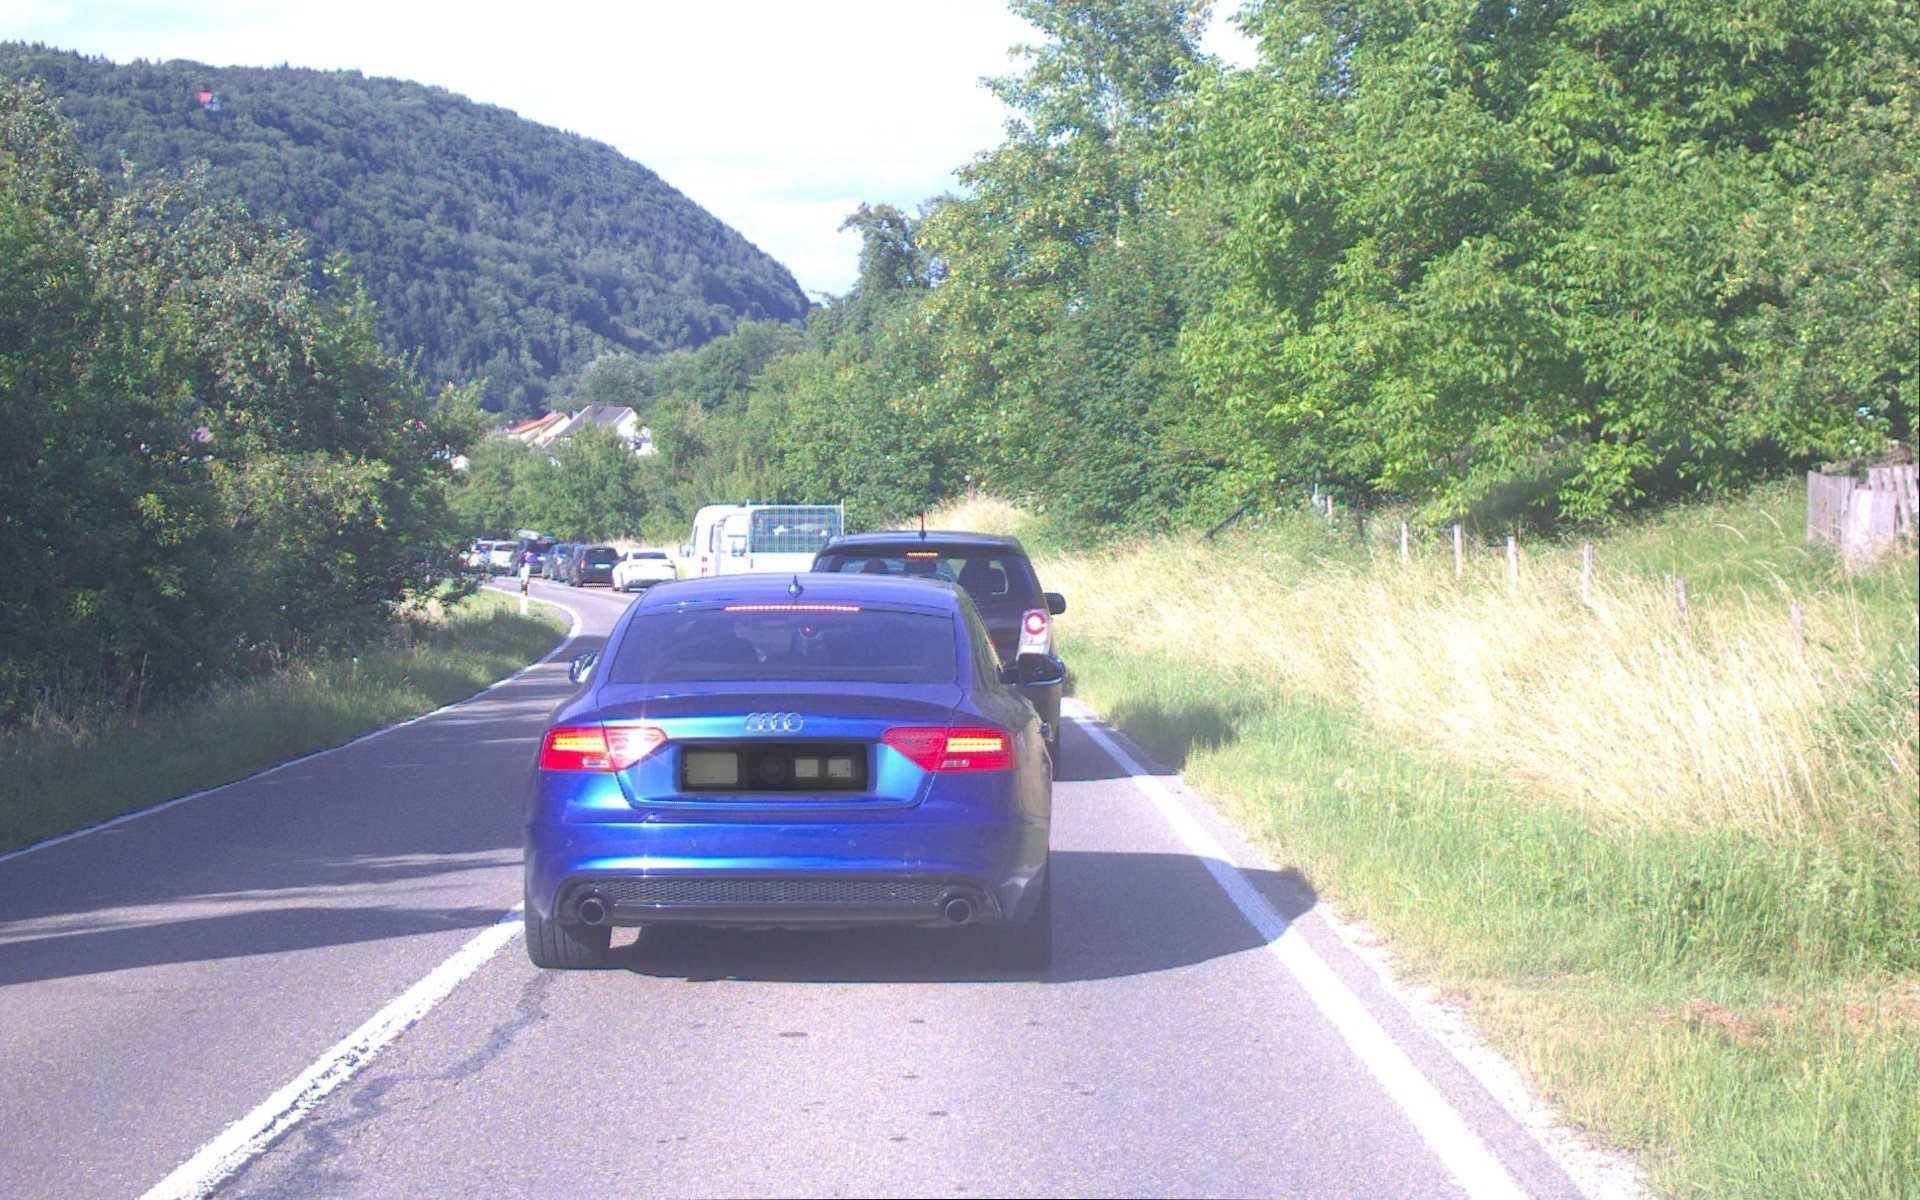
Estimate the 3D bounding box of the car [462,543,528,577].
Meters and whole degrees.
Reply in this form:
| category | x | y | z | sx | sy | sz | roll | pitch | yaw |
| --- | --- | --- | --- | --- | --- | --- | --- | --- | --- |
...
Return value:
| category | x | y | z | sx | sy | sz | roll | pitch | yaw |
| --- | --- | --- | --- | --- | --- | --- | --- | --- | --- |
| car | -20.789 | -1.796 | 153.608 | 1.993 | 1.477 | 4.001 | 0 | 0 | -22 |

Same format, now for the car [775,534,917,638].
| category | x | y | z | sx | sy | sz | roll | pitch | yaw |
| --- | --- | --- | --- | --- | --- | --- | --- | --- | --- |
| car | -1.660 | -0.222 | 51.426 | 1.993 | 1.477 | 4.000 | 1 | 0 | 0 |

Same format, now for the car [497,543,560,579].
| category | x | y | z | sx | sy | sz | roll | pitch | yaw |
| --- | --- | --- | --- | --- | --- | --- | --- | --- | --- |
| car | -18.200 | -1.622 | 144.776 | 1.993 | 1.477 | 4.001 | 0 | 0 | -16 |

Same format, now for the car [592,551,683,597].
| category | x | y | z | sx | sy | sz | roll | pitch | yaw |
| --- | --- | --- | --- | --- | --- | --- | --- | --- | --- |
| car | -10.635 | -0.873 | 113.209 | 1.993 | 1.477 | 4.001 | 0 | 0 | -20 |

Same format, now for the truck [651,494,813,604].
| category | x | y | z | sx | sy | sz | roll | pitch | yaw |
| --- | --- | --- | --- | --- | --- | --- | --- | --- | --- |
| truck | -6.015 | -1.316 | 88.893 | 2.863 | 2.656 | 10.648 | 0 | 1 | -11 |

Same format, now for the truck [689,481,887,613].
| category | x | y | z | sx | sy | sz | roll | pitch | yaw |
| --- | --- | --- | --- | --- | --- | --- | --- | --- | --- |
| truck | -3.890 | -1.152 | 74.880 | 2.863 | 2.656 | 10.396 | 0 | 1 | -11 |

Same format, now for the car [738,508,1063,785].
| category | x | y | z | sx | sy | sz | roll | pitch | yaw |
| --- | --- | --- | --- | --- | --- | --- | --- | --- | --- |
| car | -0.375 | 0.274 | 23.301 | 1.993 | 1.696 | 4.000 | 1 | 0 | 0 |

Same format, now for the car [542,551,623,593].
| category | x | y | z | sx | sy | sz | roll | pitch | yaw |
| --- | --- | --- | --- | --- | --- | --- | --- | --- | --- |
| car | -13.569 | -1.004 | 123.381 | 1.993 | 1.477 | 4.001 | 0 | 0 | -20 |

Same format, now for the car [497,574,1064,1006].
| category | x | y | z | sx | sy | sz | roll | pitch | yaw |
| --- | --- | --- | --- | --- | --- | --- | --- | --- | --- |
| car | -0.546 | 0.590 | 12.945 | 1.794 | 1.355 | 4.000 | 1 | 0 | 1 |

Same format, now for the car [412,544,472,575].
| category | x | y | z | sx | sy | sz | roll | pitch | yaw |
| --- | --- | --- | --- | --- | --- | --- | --- | --- | --- |
| car | -25.249 | -1.951 | 167.523 | 1.993 | 1.477 | 4.001 | 0 | 0 | -22 |
